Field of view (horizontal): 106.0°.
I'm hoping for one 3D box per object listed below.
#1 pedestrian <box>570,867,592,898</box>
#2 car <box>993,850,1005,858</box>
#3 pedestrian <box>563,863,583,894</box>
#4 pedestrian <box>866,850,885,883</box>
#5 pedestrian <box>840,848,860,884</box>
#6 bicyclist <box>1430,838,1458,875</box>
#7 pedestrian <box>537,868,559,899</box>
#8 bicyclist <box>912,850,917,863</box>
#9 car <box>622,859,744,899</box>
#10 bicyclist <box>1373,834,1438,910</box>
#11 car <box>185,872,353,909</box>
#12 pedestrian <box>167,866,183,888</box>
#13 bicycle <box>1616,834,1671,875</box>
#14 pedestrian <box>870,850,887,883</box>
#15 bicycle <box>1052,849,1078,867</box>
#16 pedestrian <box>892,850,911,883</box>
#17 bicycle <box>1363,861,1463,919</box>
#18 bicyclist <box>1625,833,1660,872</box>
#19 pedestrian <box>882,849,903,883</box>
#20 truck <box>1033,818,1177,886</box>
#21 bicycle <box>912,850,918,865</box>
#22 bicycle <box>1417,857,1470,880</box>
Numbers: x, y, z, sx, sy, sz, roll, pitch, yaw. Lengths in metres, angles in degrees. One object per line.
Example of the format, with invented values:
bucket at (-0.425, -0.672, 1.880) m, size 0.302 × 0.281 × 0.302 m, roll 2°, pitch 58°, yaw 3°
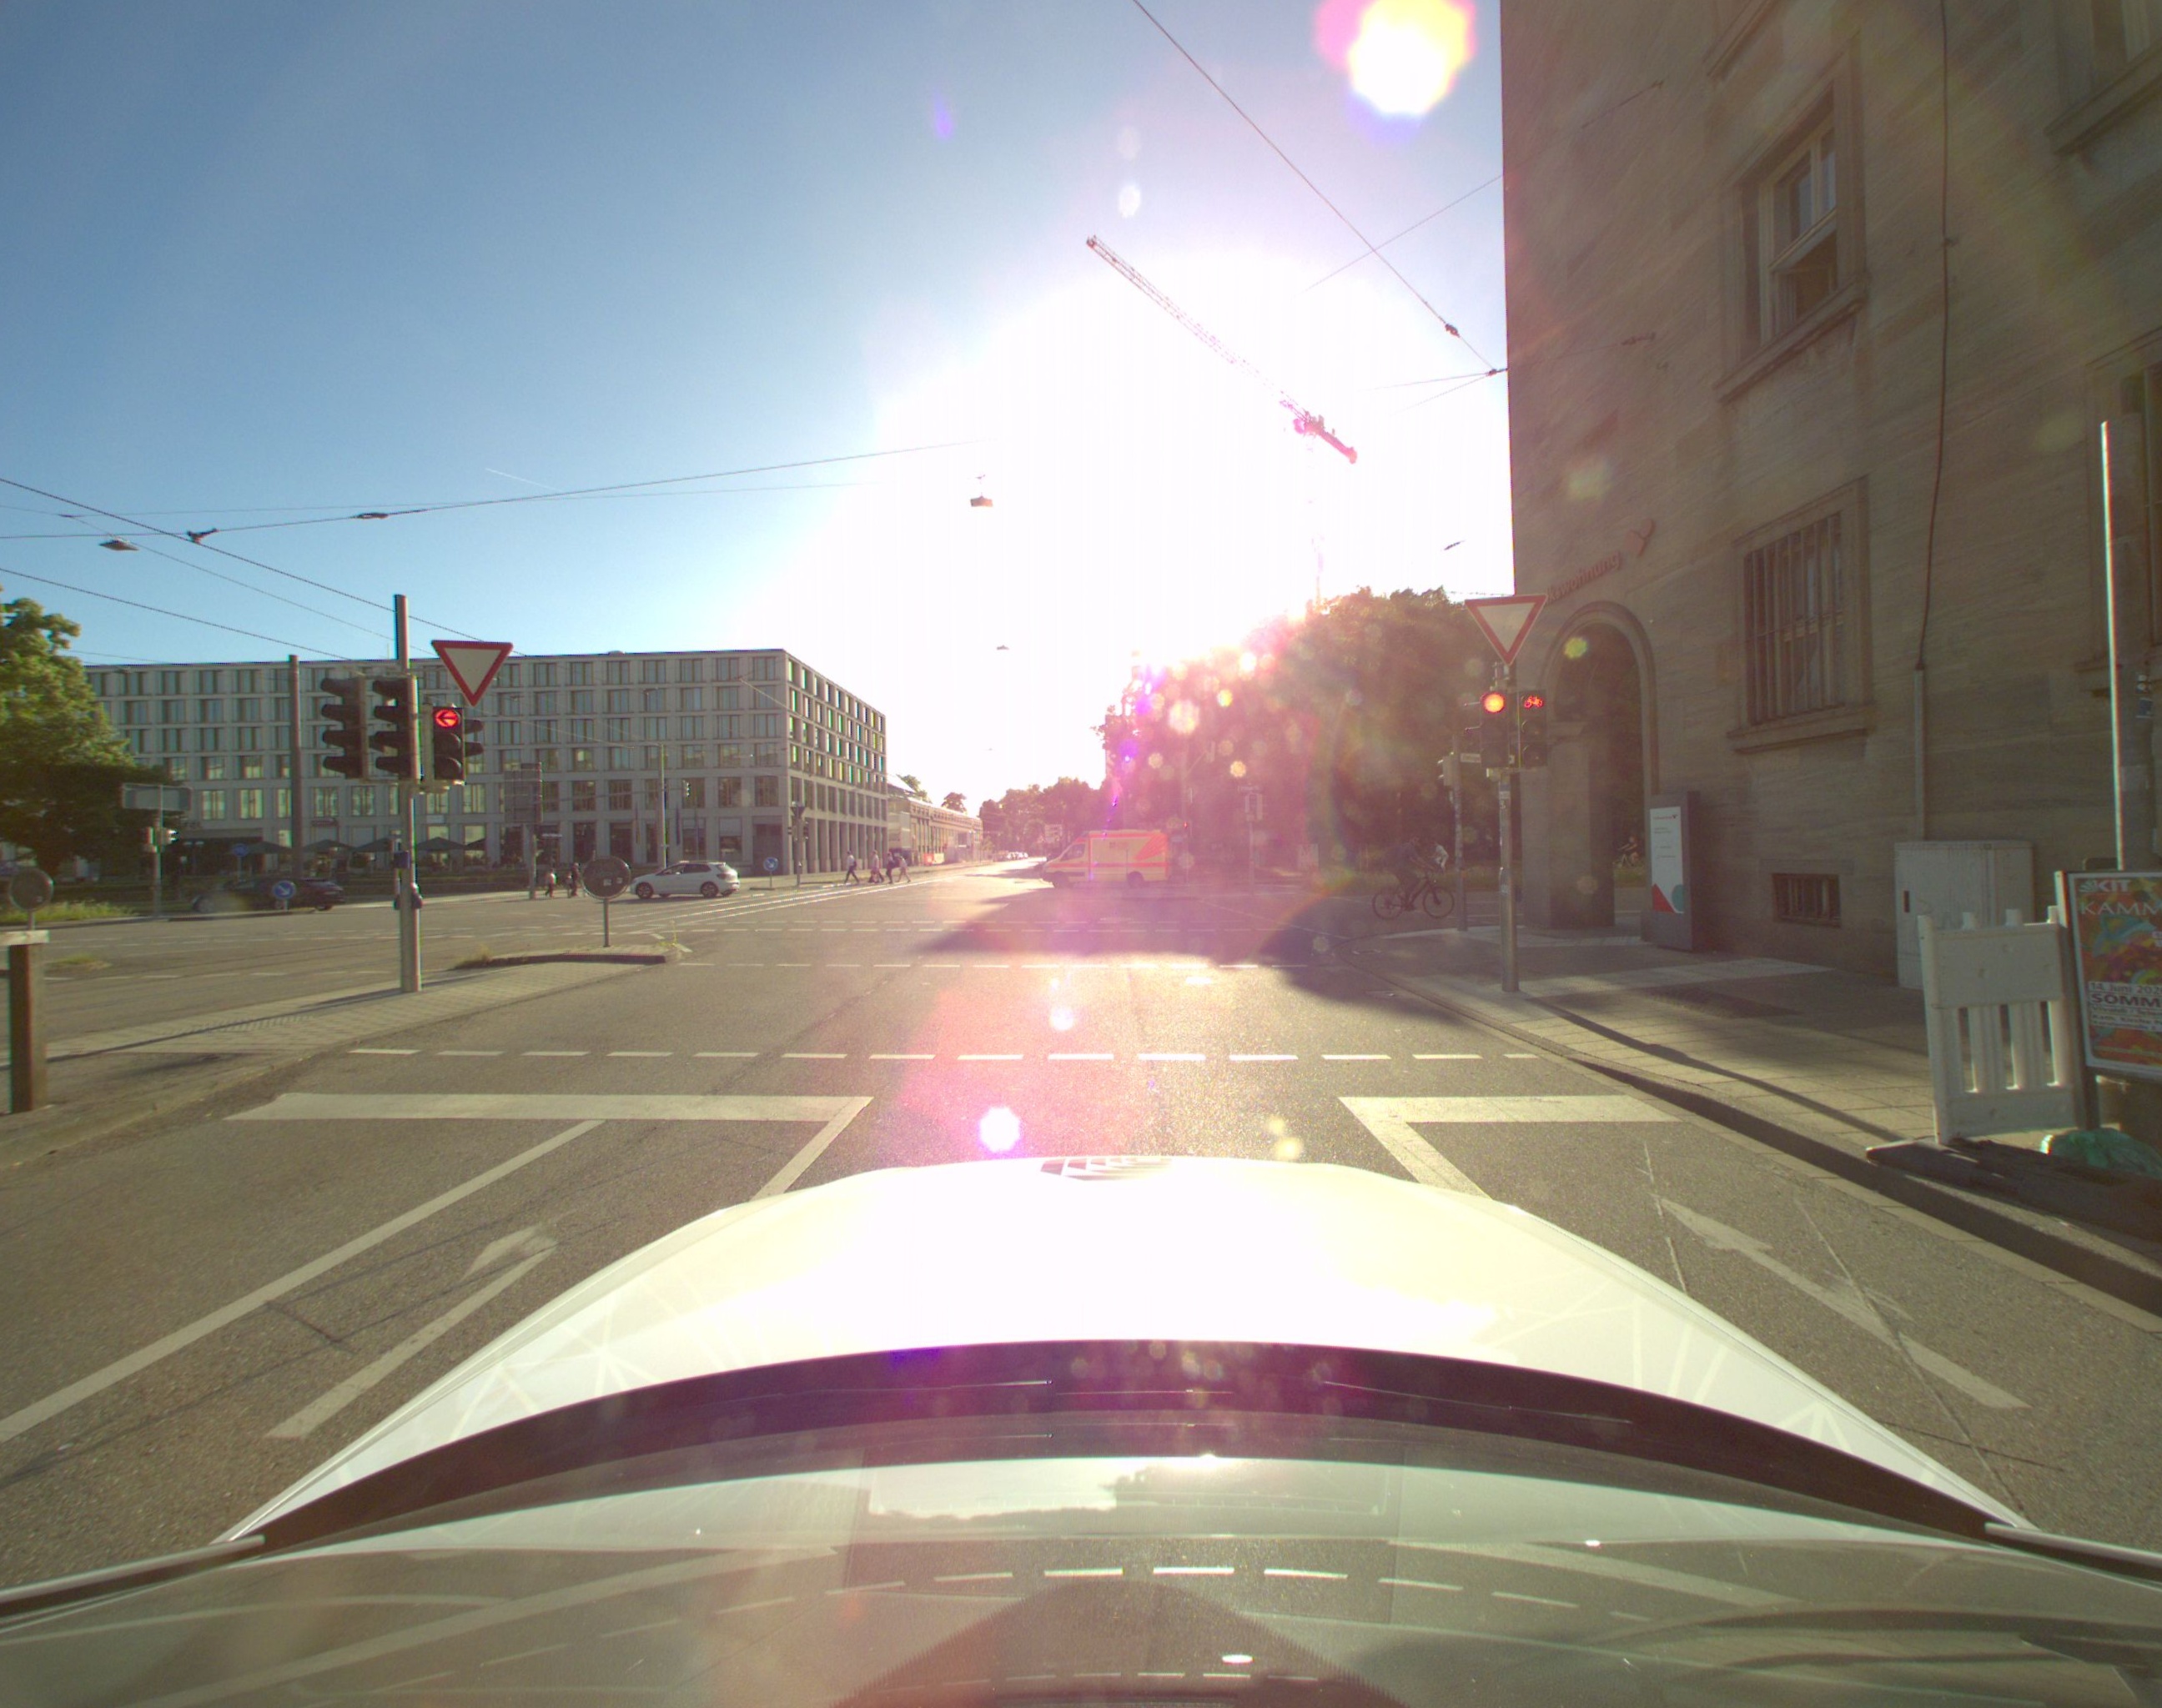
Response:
pedestrian at (-27.466, 1.544, 44.759) m, size 0.790 × 1.644 × 0.621 m, roll -2°, pitch 0°, yaw -3°
car at (-15.743, 0.009, 156.951) m, size 1.888 × 1.607 × 4.499 m, roll -2°, pitch 0°, yaw 0°
pedestrian at (-28.291, 1.361, 45.348) m, size 0.692 × 1.644 × 0.621 m, roll -2°, pitch 0°, yaw -3°
pedestrian at (-11.386, 0.682, 45.168) m, size 0.735 × 1.803 × 0.717 m, roll -2°, pitch 0°, yaw 7°
pedestrian at (-12.523, 0.641, 44.145) m, size 0.797 × 1.918 × 0.638 m, roll -2°, pitch 0°, yaw 7°
bicyclist at (15.992, 0.116, 35.884) m, size 0.971 × 1.560 × 0.575 m, roll -2°, pitch 0°, yaw 0°
pedestrian at (-29.080, 1.600, 44.430) m, size 0.691 × 1.644 × 0.622 m, roll -2°, pitch 0°, yaw 5°
bicyclist at (-26.743, 0.453, 131.041) m, size 0.569 × 2.024 × 0.762 m, roll -2°, pitch 0°, yaw 0°
car at (-15.910, 1.000, 32.657) m, size 4.033 × 1.434 × 1.630 m, roll -2°, pitch -2°, yaw -3°
bicyclist at (7.090, 0.373, 17.831) m, size 1.119 × 1.594 × 0.767 m, roll -2°, pitch 2°, yaw 2°
car at (-32.927, 1.469, 33.120) m, size 4.721 × 1.415 × 1.999 m, roll -1°, pitch -2°, yaw -1°
pedestrian at (-69.049, 1.759, 62.050) m, size 0.538 × 1.669 × 0.561 m, roll 0°, pitch -1°, yaw -2°
bicycle at (24.506, 0.012, 35.491) m, size 1.888 × 1.735 × 0.598 m, roll -2°, pitch 0°, yaw 5°
pedestrian at (-11.452, 0.697, 46.069) m, size 0.735 × 1.803 × 0.533 m, roll -2°, pitch 0°, yaw 7°
bicycle at (-1.590, 0.396, 81.679) m, size 2.538 × 1.743 × 1.038 m, roll 0°, pitch -1°, yaw 1°
pedestrian at (-10.074, 0.681, 45.738) m, size 0.865 × 1.803 × 0.533 m, roll -2°, pitch 0°, yaw 7°
bicycle at (7.254, 0.785, 17.841) m, size 1.865 × 1.158 × 0.767 m, roll -2°, pitch 2°, yaw 2°
bicyclist at (24.465, -0.069, 35.491) m, size 1.069 × 1.641 × 0.598 m, roll -2°, pitch 0°, yaw 5°
pedestrian at (-10.338, 0.638, 44.622) m, size 0.865 × 1.803 × 0.665 m, roll -2°, pitch 0°, yaw 7°
truck at (1.203, -0.068, 38.923) m, size 6.426 × 3.016 × 2.734 m, roll -1°, pitch 0°, yaw 11°
bicycle at (-26.737, 0.568, 130.990) m, size 0.569 × 2.296 × 1.422 m, roll -2°, pitch 0°, yaw 0°
bicycle at (15.965, 0.633, 35.908) m, size 2.058 × 0.933 × 0.575 m, roll -2°, pitch 0°, yaw 0°
